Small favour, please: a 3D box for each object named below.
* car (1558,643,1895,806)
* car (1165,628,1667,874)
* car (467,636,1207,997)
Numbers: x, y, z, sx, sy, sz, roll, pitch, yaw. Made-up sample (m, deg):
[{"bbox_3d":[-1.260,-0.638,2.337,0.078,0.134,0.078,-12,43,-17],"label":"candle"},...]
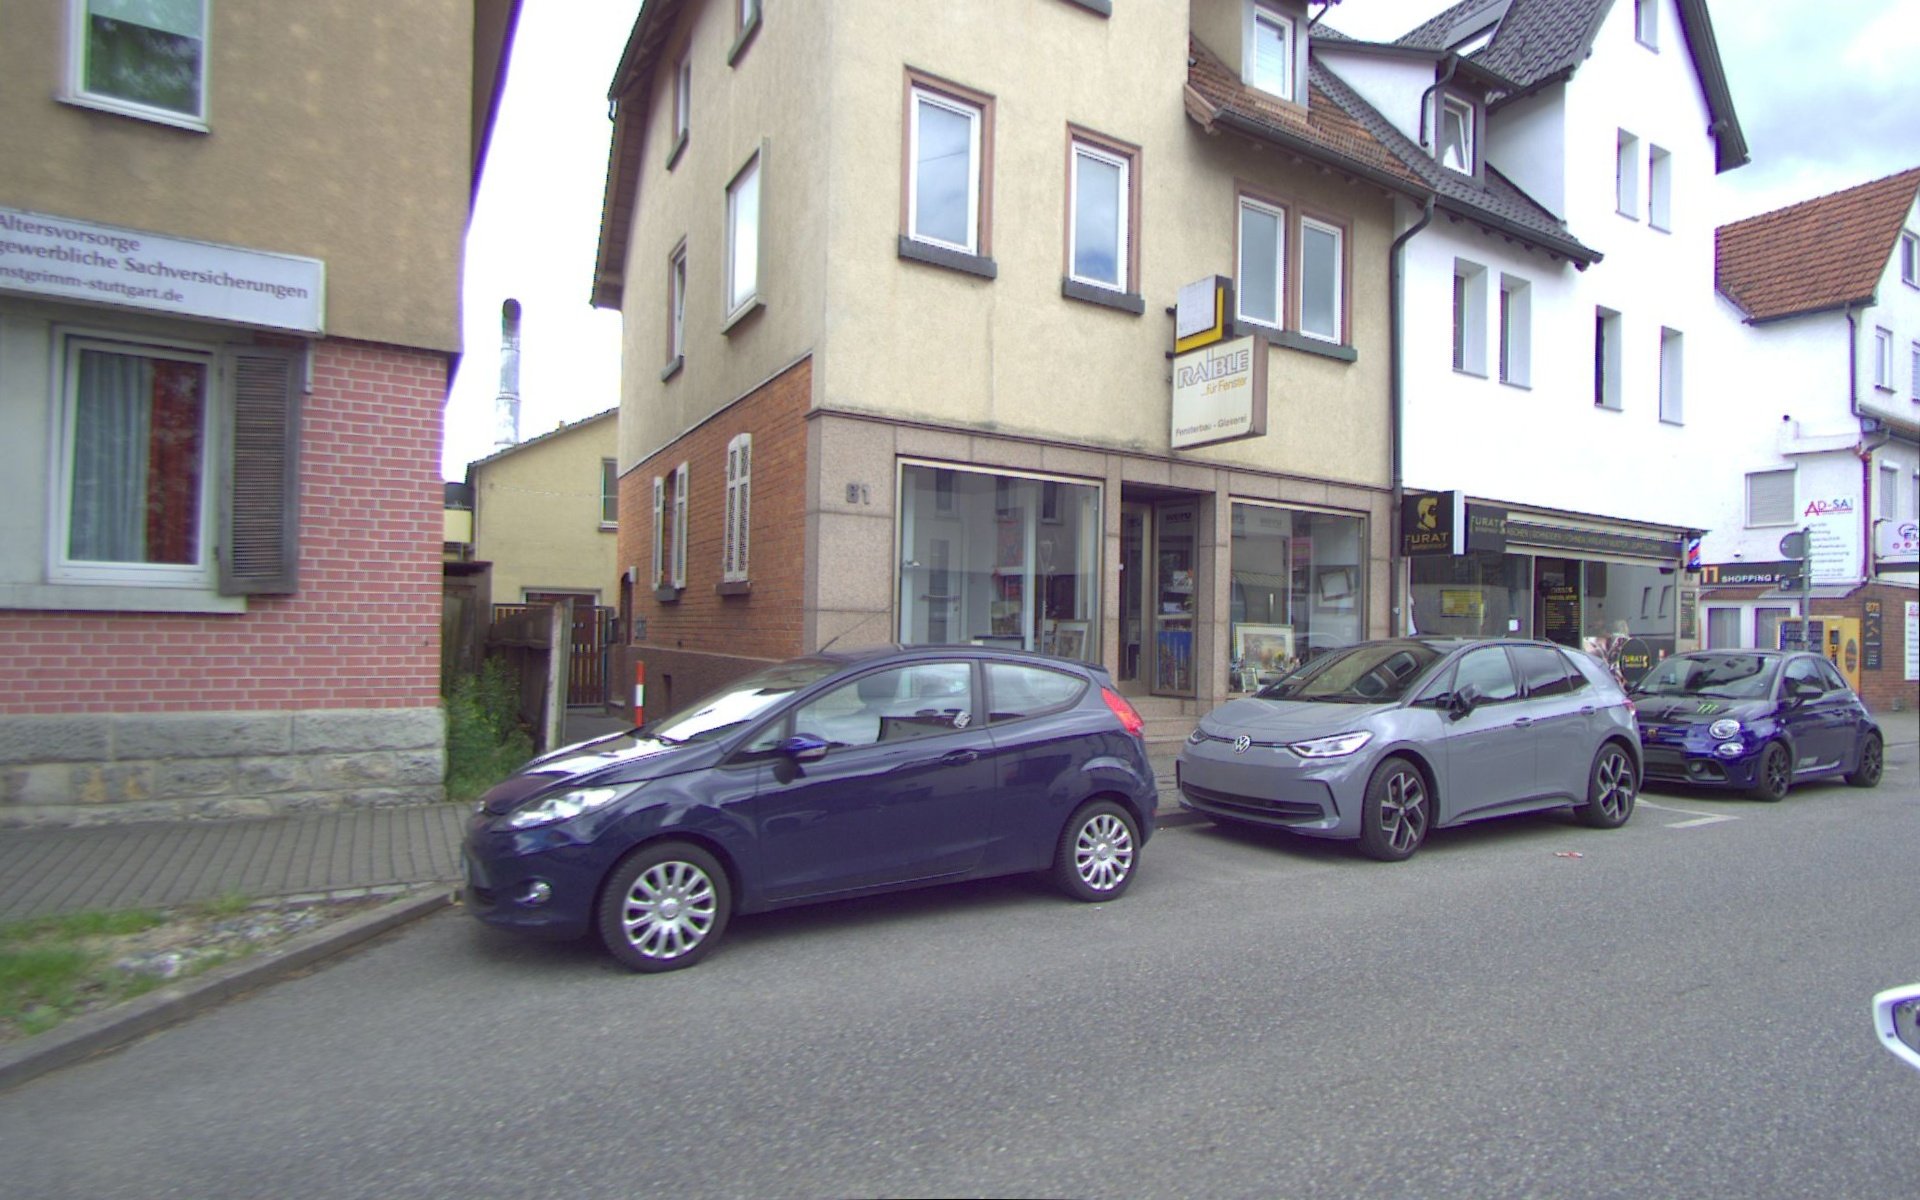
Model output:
[{"bbox_3d":[8.412,1.247,10.996,3.548,1.513,1.675,2,-3,-29],"label":"car"},{"bbox_3d":[3.805,1.071,8.256,4.064,1.586,1.702,2,-3,-30],"label":"car"},{"bbox_3d":[-0.591,0.960,5.766,3.886,1.443,1.674,2,-3,-31],"label":"car"}]
